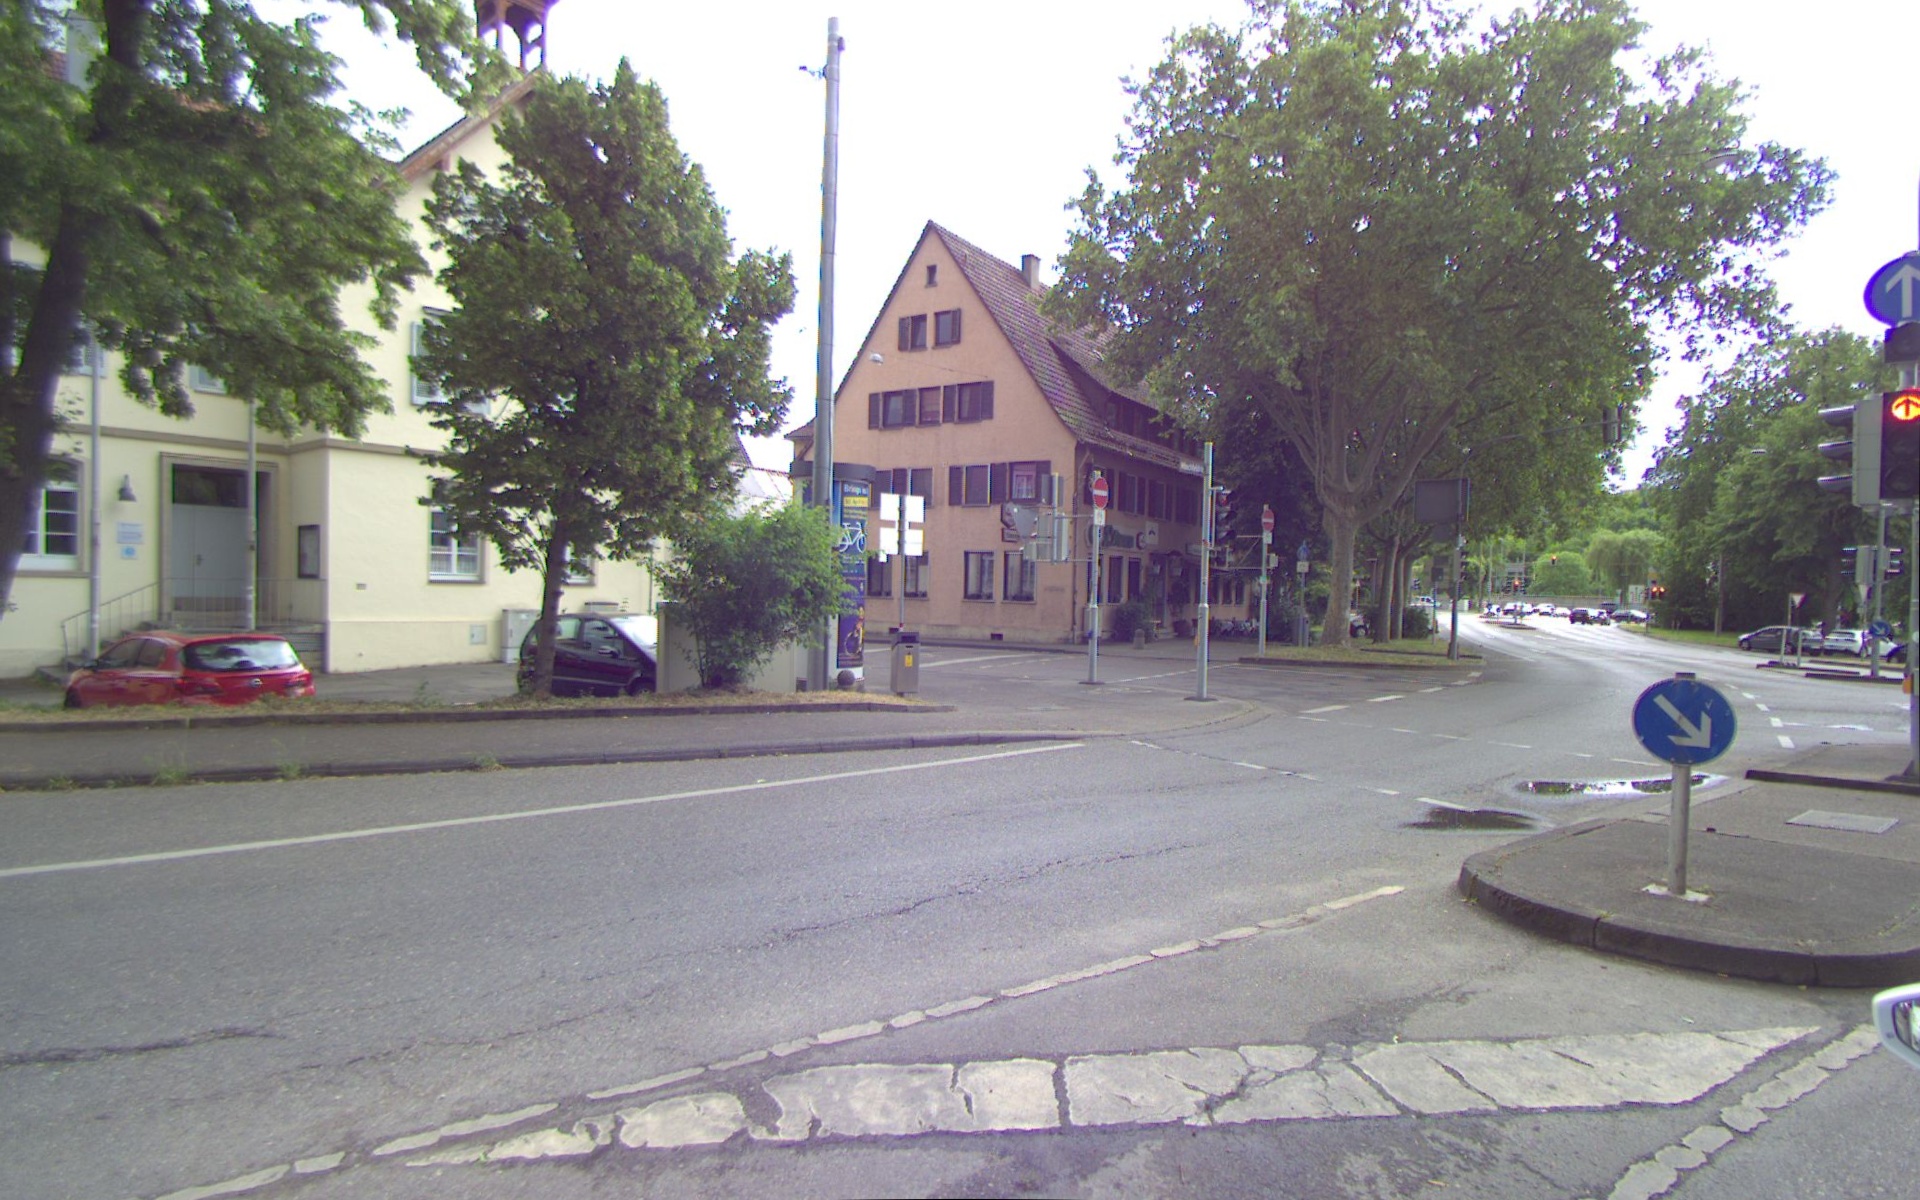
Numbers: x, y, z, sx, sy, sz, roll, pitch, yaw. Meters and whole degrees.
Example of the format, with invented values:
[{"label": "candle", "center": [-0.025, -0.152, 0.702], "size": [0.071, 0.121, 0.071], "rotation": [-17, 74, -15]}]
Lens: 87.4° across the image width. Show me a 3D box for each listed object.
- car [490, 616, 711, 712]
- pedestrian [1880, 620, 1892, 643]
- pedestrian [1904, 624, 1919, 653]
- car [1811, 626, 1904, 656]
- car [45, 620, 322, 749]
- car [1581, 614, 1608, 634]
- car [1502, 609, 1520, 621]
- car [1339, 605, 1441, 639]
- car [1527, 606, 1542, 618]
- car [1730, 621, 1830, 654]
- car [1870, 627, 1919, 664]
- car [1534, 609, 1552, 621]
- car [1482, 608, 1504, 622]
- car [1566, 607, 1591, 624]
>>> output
[{"label": "car", "center": [-5.925, 0.986, 16.540], "size": [3.335, 1.327, 1.482], "rotation": [2, 0, 25]}, {"label": "pedestrian", "center": [63.703, 2.160, 69.103], "size": [0.504, 1.552, 0.775], "rotation": [3, 1, 38]}, {"label": "pedestrian", "center": [53.818, 2.181, 56.614], "size": [0.673, 1.572, 0.741], "rotation": [2, 1, 29]}, {"label": "car", "center": [47.668, 2.173, 53.373], "size": [4.194, 1.399, 1.758], "rotation": [2, 1, -18]}, {"label": "car", "center": [-10.232, 1.015, 13.205], "size": [3.564, 1.371, 1.597], "rotation": [2, 0, 29]}, {"label": "car", "center": [64.272, 2.393, 101.688], "size": [1.968, 1.951, 3.985], "rotation": [2, 0, 37]}, {"label": "car", "center": [75.250, 2.024, 137.137], "size": [1.772, 1.608, 4.402], "rotation": [0, 1, 34]}, {"label": "car", "center": [24.999, 1.258, 58.601], "size": [5.137, 1.957, 2.085], "rotation": [0, 0, 11]}, {"label": "car", "center": [101.802, 2.180, 178.109], "size": [1.963, 2.040, 3.996], "rotation": [2, 0, 26]}, {"label": "car", "center": [44.142, 1.994, 54.200], "size": [1.701, 1.448, 4.106], "rotation": [2, 2, -7]}, {"label": "car", "center": [39.450, 1.894, 40.879], "size": [1.542, 1.423, 3.493], "rotation": [2, 1, -1]}, {"label": "car", "center": [89.661, 2.330, 154.368], "size": [1.967, 1.677, 4.412], "rotation": [2, 1, 35]}, {"label": "car", "center": [65.673, 1.908, 123.781], "size": [1.739, 1.486, 4.007], "rotation": [7, 3, 36]}, {"label": "car", "center": [57.720, 1.422, 93.809], "size": [1.796, 1.529, 4.565], "rotation": [1, 0, 30]}]
